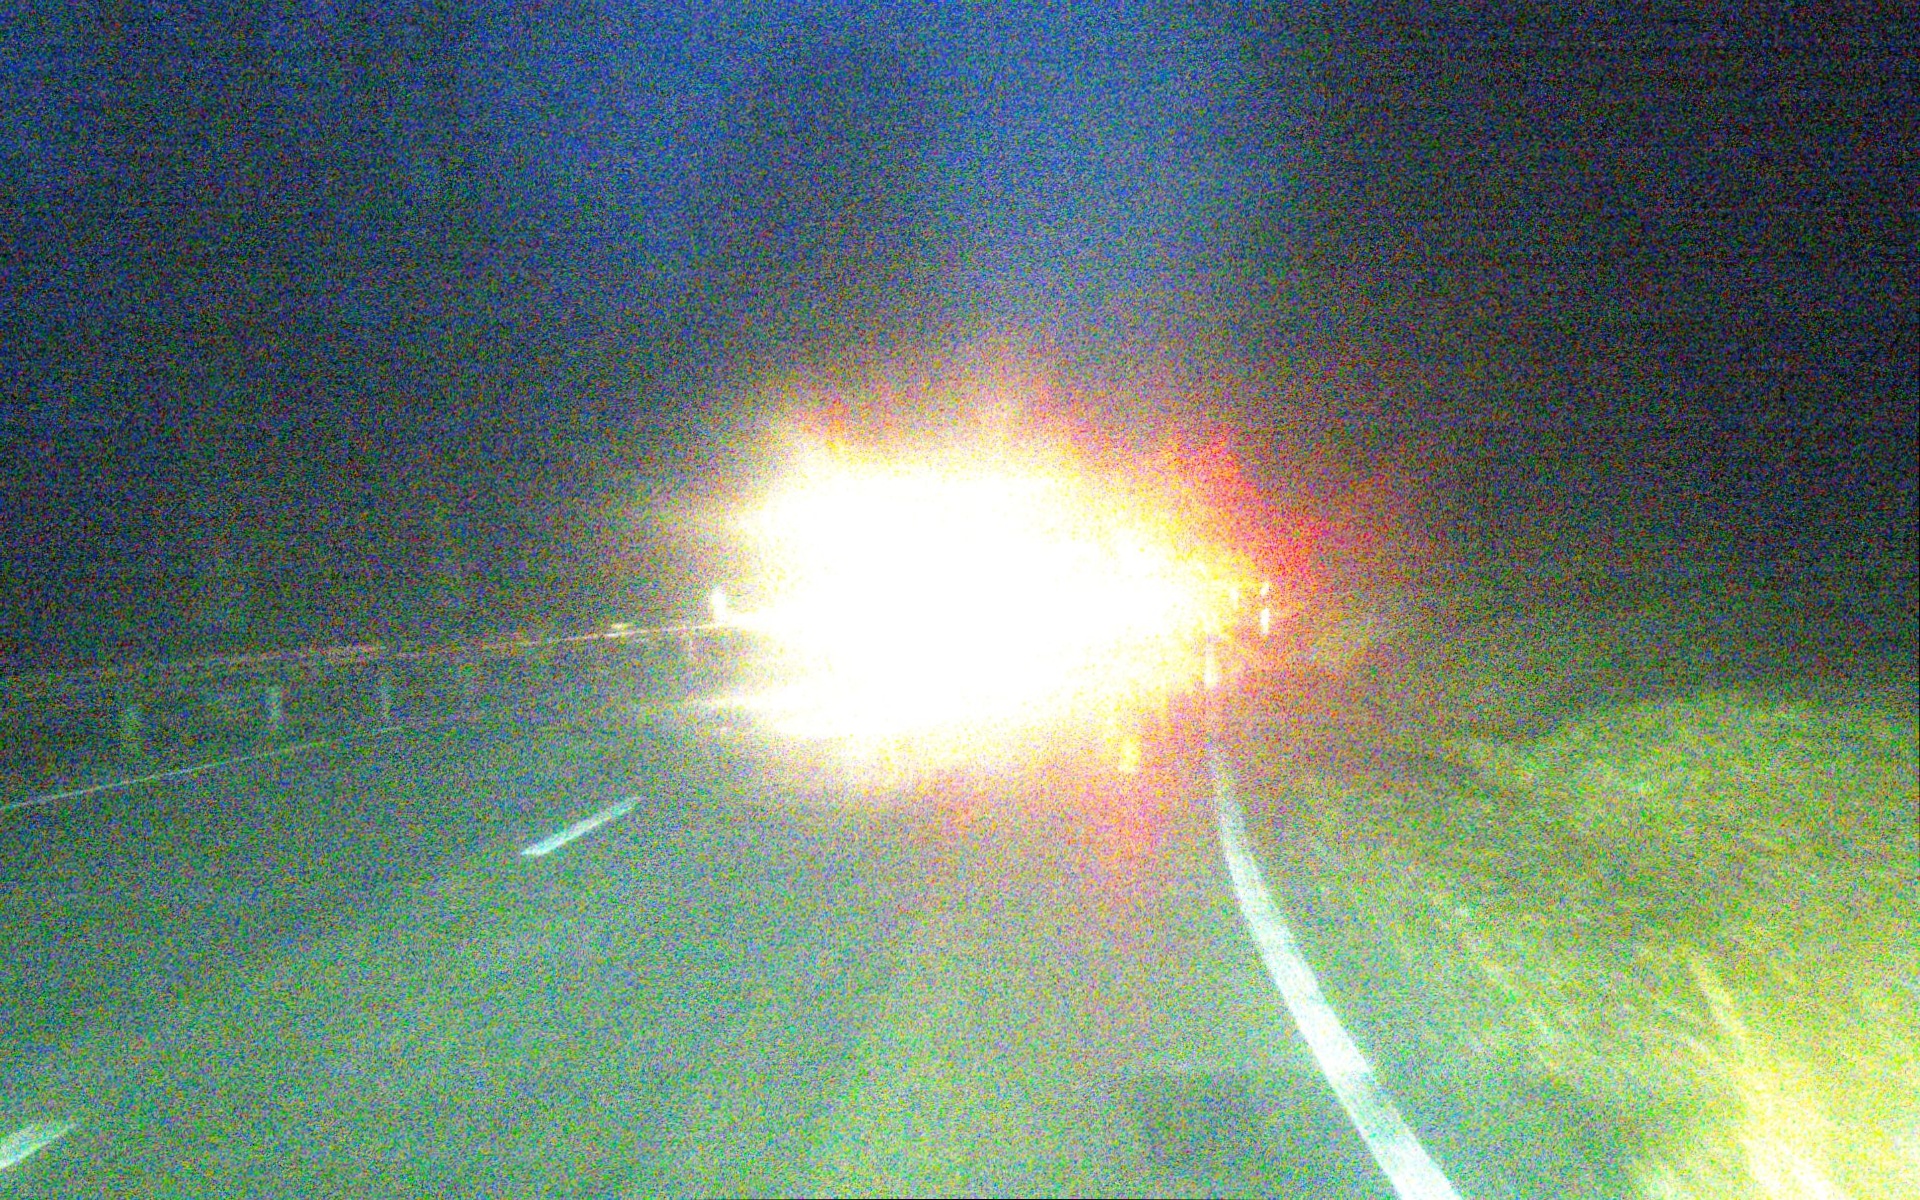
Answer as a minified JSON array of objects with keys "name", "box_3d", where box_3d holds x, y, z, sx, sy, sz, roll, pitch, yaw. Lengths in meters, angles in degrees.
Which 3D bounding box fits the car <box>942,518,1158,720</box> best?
[{"name":"car","box_3d":[0.895,0.135,35.241,1.993,1.800,3.918,-3,2,1]}]
